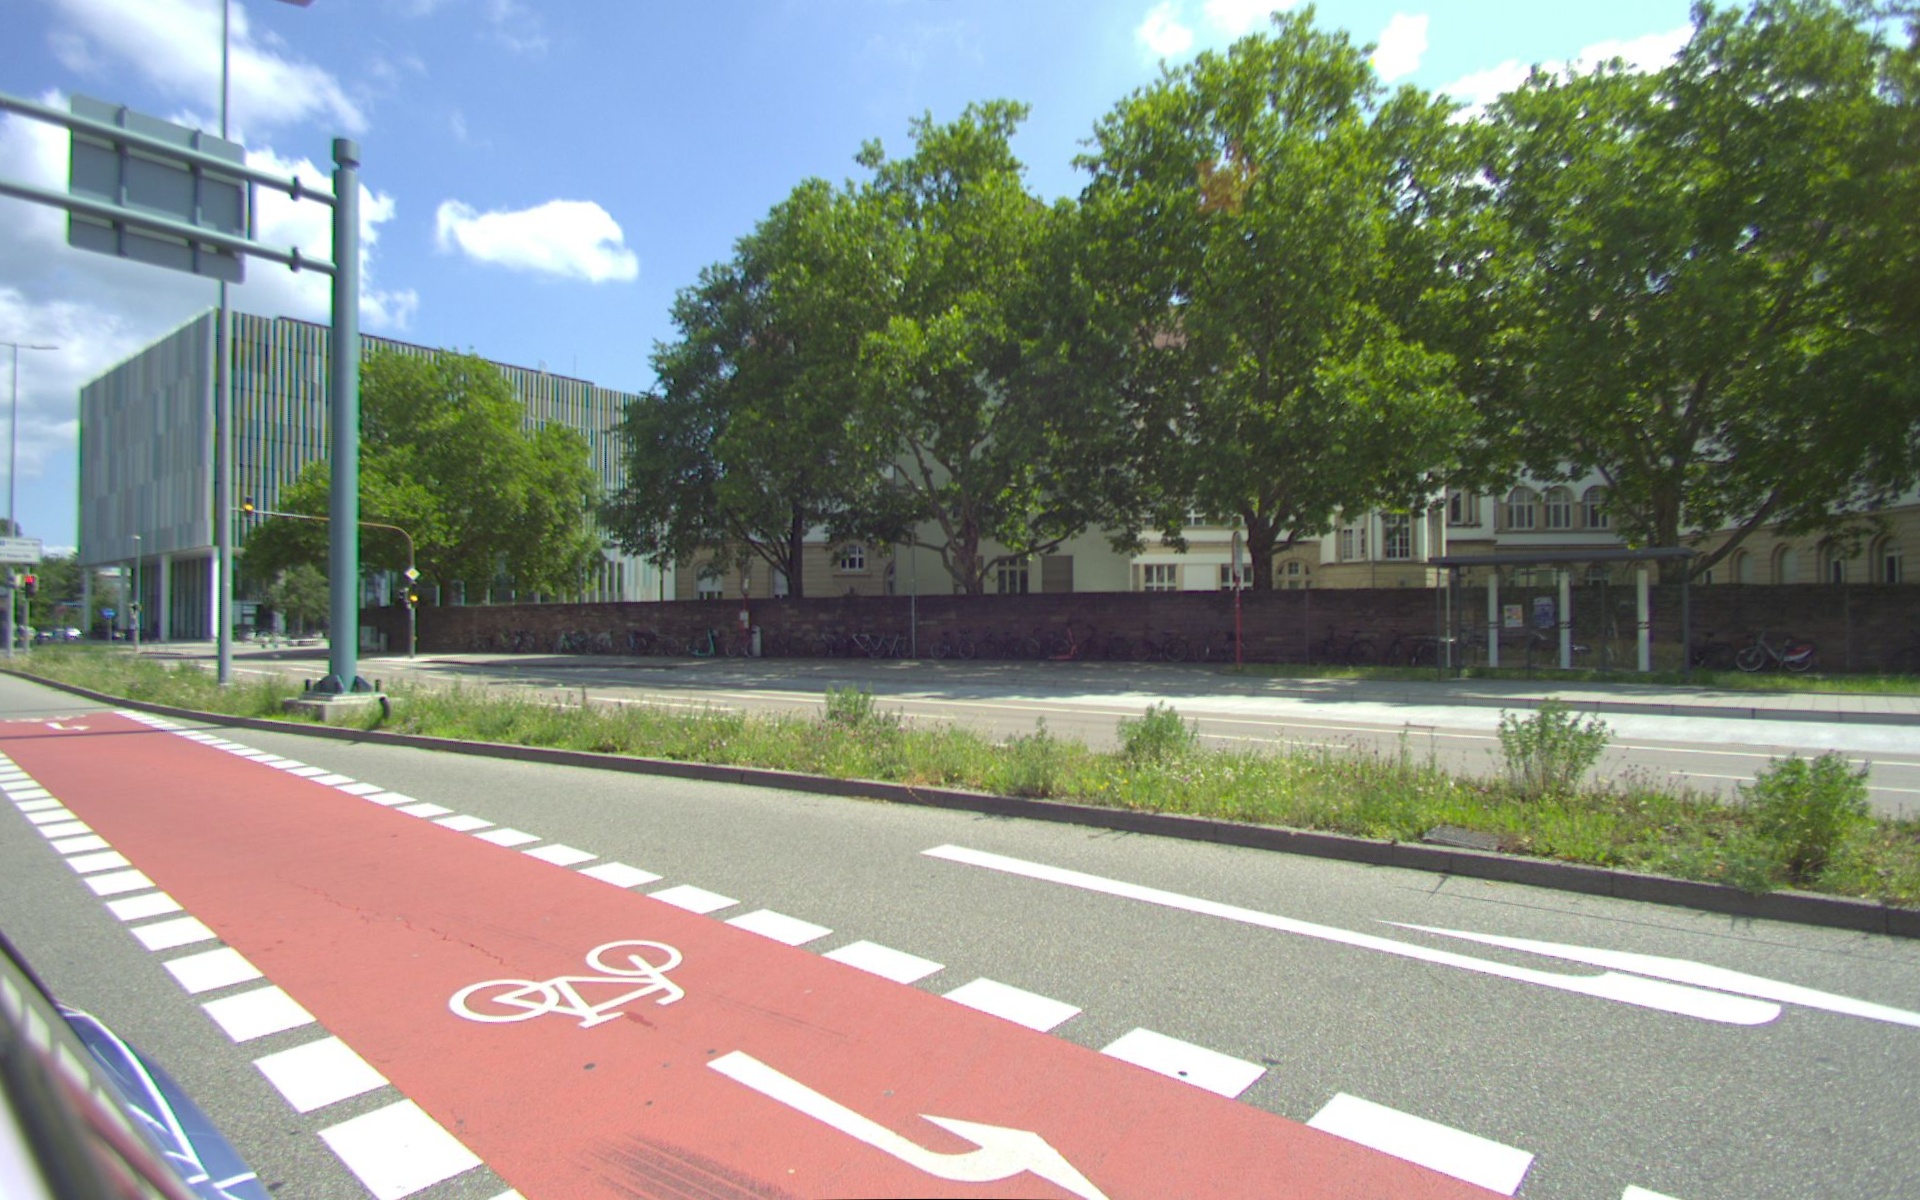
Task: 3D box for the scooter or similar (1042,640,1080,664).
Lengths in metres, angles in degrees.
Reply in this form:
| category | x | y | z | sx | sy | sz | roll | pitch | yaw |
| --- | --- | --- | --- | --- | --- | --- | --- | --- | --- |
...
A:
| category | x | y | z | sx | sy | sz | roll | pitch | yaw |
| --- | --- | --- | --- | --- | --- | --- | --- | --- | --- |
| scooter or similar | 3.177 | 1.628 | 31.836 | 1.133 | 0.734 | 0.264 | -1 | -2 | 18 |

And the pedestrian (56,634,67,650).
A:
| category | x | y | z | sx | sy | sz | roll | pitch | yaw |
| --- | --- | --- | --- | --- | --- | --- | --- | --- | --- |
| pedestrian | -85.061 | 3.970 | 95.781 | 0.689 | 1.464 | 0.687 | -2 | -3 | 44 |

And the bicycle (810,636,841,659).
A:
| category | x | y | z | sx | sy | sz | roll | pitch | yaw |
| --- | --- | --- | --- | --- | --- | --- | --- | --- | --- |
| bicycle | -4.896 | 1.725 | 36.868 | 1.231 | 0.837 | 0.262 | -1 | -2 | 30 |

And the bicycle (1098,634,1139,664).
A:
| category | x | y | z | sx | sy | sz | roll | pitch | yaw |
| --- | --- | --- | --- | --- | --- | --- | --- | --- | --- |
| bicycle | 4.941 | 1.521 | 31.612 | 1.230 | 0.915 | 0.262 | -1 | -2 | 28 |

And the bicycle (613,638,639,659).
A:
| category | x | y | z | sx | sy | sz | roll | pitch | yaw |
| --- | --- | --- | --- | --- | --- | --- | --- | --- | --- |
| bicycle | -13.918 | 2.023 | 42.181 | 1.231 | 0.837 | 0.262 | -1 | -2 | 30 |

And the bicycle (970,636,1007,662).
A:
| category | x | y | z | sx | sy | sz | roll | pitch | yaw |
| --- | --- | --- | --- | --- | --- | --- | --- | --- | --- |
| bicycle | 0.954 | 1.637 | 33.729 | 1.230 | 0.837 | 0.262 | -1 | -2 | 28 |

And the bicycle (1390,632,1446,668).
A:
| category | x | y | z | sx | sy | sz | roll | pitch | yaw |
| --- | --- | --- | --- | --- | --- | --- | --- | --- | --- |
| bicycle | 12.857 | 1.404 | 28.429 | 1.384 | 0.972 | 0.263 | -1 | -2 | 18 |

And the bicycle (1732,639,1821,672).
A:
| category | x | y | z | sx | sy | sz | roll | pitch | yaw |
| --- | --- | --- | --- | --- | --- | --- | --- | --- | --- |
| bicycle | 20.737 | 1.406 | 25.730 | 1.734 | 0.823 | 0.327 | -1 | -2 | 18 |

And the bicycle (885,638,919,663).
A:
| category | x | y | z | sx | sy | sz | roll | pitch | yaw |
| --- | --- | --- | --- | --- | --- | --- | --- | --- | --- |
| bicycle | -2.021 | 1.749 | 35.127 | 1.231 | 0.837 | 0.262 | -1 | -2 | 30 |

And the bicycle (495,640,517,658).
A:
| category | x | y | z | sx | sy | sz | roll | pitch | yaw |
| --- | --- | --- | --- | --- | --- | --- | --- | --- | --- |
| bicycle | -21.058 | 2.258 | 46.977 | 1.231 | 0.837 | 0.262 | -1 | -2 | 30 |

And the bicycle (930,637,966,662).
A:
| category | x | y | z | sx | sy | sz | roll | pitch | yaw |
| --- | --- | --- | --- | --- | --- | --- | --- | --- | --- |
| bicycle | -0.413 | 1.670 | 34.255 | 1.230 | 0.837 | 0.262 | -1 | -2 | 28 |

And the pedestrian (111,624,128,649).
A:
| category | x | y | z | sx | sy | sz | roll | pitch | yaw |
| --- | --- | --- | --- | --- | --- | --- | --- | --- | --- |
| pedestrian | -68.576 | 2.958 | 82.599 | 0.994 | 2.029 | 0.853 | -2 | -2 | 39 |

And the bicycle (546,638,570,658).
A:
| category | x | y | z | sx | sy | sz | roll | pitch | yaw |
| --- | --- | --- | --- | --- | --- | --- | --- | --- | --- |
| bicycle | -17.482 | 2.092 | 43.988 | 1.230 | 0.837 | 0.262 | -1 | -2 | 29 |

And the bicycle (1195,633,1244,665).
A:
| category | x | y | z | sx | sy | sz | roll | pitch | yaw |
| --- | --- | --- | --- | --- | --- | --- | --- | --- | --- |
| bicycle | 7.800 | 1.469 | 30.426 | 1.389 | 0.972 | 0.262 | -1 | -2 | 28 |

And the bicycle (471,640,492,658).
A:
| category | x | y | z | sx | sy | sz | roll | pitch | yaw |
| --- | --- | --- | --- | --- | --- | --- | --- | --- | --- |
| bicycle | -22.697 | 2.310 | 47.969 | 1.231 | 0.837 | 0.262 | -1 | -2 | 30 |

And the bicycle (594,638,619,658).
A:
| category | x | y | z | sx | sy | sz | roll | pitch | yaw |
| --- | --- | --- | --- | --- | --- | --- | --- | --- | --- |
| bicycle | -14.990 | 2.014 | 42.891 | 1.231 | 0.837 | 0.262 | -1 | -2 | 30 |

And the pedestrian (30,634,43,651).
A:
| category | x | y | z | sx | sy | sz | roll | pitch | yaw |
| --- | --- | --- | --- | --- | --- | --- | --- | --- | --- |
| pedestrian | -78.636 | 3.638 | 86.158 | 0.687 | 1.464 | 0.689 | -2 | -2 | 34 |

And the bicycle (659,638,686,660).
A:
| category | x | y | z | sx | sy | sz | roll | pitch | yaw |
| --- | --- | --- | --- | --- | --- | --- | --- | --- | --- |
| bicycle | -11.551 | 1.964 | 40.596 | 1.231 | 0.837 | 0.262 | -1 | -2 | 30 |

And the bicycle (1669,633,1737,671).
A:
| category | x | y | z | sx | sy | sz | roll | pitch | yaw |
| --- | --- | --- | --- | --- | --- | --- | --- | --- | --- |
| bicycle | 19.226 | 1.346 | 26.204 | 1.384 | 0.972 | 0.263 | -1 | -2 | 18 |

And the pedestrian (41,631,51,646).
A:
| category | x | y | z | sx | sy | sz | roll | pitch | yaw |
| --- | --- | --- | --- | --- | --- | --- | --- | --- | --- |
| pedestrian | -88.957 | 3.746 | 98.477 | 0.686 | 1.464 | 0.689 | 1 | -3 | -45 |

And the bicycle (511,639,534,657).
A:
| category | x | y | z | sx | sy | sz | roll | pitch | yaw |
| --- | --- | --- | --- | --- | --- | --- | --- | --- | --- |
| bicycle | -19.977 | 2.183 | 46.209 | 1.230 | 0.837 | 0.262 | -1 | -2 | 29 |

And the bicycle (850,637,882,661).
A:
| category | x | y | z | sx | sy | sz | roll | pitch | yaw |
| --- | --- | --- | --- | --- | --- | --- | --- | --- | --- |
| bicycle | -3.336 | 1.751 | 35.907 | 1.231 | 0.837 | 0.262 | -1 | -2 | 30 |

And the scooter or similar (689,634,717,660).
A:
| category | x | y | z | sx | sy | sz | roll | pitch | yaw |
| --- | --- | --- | --- | --- | --- | --- | --- | --- | --- |
| scooter or similar | -10.150 | 1.866 | 39.930 | 1.133 | 1.028 | 0.264 | -1 | -2 | 19 |

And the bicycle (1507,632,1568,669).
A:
| category | x | y | z | sx | sy | sz | roll | pitch | yaw |
| --- | --- | --- | --- | --- | --- | --- | --- | --- | --- |
| bicycle | 15.624 | 1.369 | 27.398 | 1.384 | 0.972 | 0.263 | -1 | -2 | 18 |

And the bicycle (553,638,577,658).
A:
| category | x | y | z | sx | sy | sz | roll | pitch | yaw |
| --- | --- | --- | --- | --- | --- | --- | --- | --- | --- |
| bicycle | -17.412 | 2.108 | 44.571 | 1.230 | 0.837 | 0.262 | -1 | -2 | 29 |

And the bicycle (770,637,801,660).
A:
| category | x | y | z | sx | sy | sz | roll | pitch | yaw |
| --- | --- | --- | --- | --- | --- | --- | --- | --- | --- |
| bicycle | -6.476 | 1.808 | 37.577 | 1.231 | 0.837 | 0.262 | -1 | -2 | 30 |

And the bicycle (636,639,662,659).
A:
| category | x | y | z | sx | sy | sz | roll | pitch | yaw |
| --- | --- | --- | --- | --- | --- | --- | --- | --- | --- |
| bicycle | -12.754 | 2.004 | 41.467 | 1.231 | 0.837 | 0.262 | -1 | -2 | 30 |

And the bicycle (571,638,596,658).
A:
| category | x | y | z | sx | sy | sz | roll | pitch | yaw |
| --- | --- | --- | --- | --- | --- | --- | --- | --- | --- |
| bicycle | -16.273 | 2.079 | 43.737 | 1.231 | 0.837 | 0.262 | -1 | -2 | 30 |

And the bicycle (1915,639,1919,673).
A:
| category | x | y | z | sx | sy | sz | roll | pitch | yaw |
| --- | --- | --- | --- | --- | --- | --- | --- | --- | --- |
| bicycle | 24.434 | 1.358 | 24.611 | 1.734 | 0.823 | 0.382 | -1 | -2 | 18 |

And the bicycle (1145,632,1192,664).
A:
| category | x | y | z | sx | sy | sz | roll | pitch | yaw |
| --- | --- | --- | --- | --- | --- | --- | --- | --- | --- |
| bicycle | 6.393 | 1.475 | 31.046 | 1.385 | 0.972 | 0.263 | -1 | -2 | 20 |

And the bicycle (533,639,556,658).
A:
| category | x | y | z | sx | sy | sz | roll | pitch | yaw |
| --- | --- | --- | --- | --- | --- | --- | --- | --- | --- |
| bicycle | -18.601 | 2.159 | 45.321 | 1.230 | 0.837 | 0.262 | -1 | -2 | 29 |

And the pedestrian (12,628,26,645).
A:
| category | x | y | z | sx | sy | sz | roll | pitch | yaw |
| --- | --- | --- | --- | --- | --- | --- | --- | --- | --- |
| pedestrian | -94.717 | 3.646 | 101.837 | 0.994 | 1.669 | 0.853 | -2 | -2 | 39 |

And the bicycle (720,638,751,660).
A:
| category | x | y | z | sx | sy | sz | roll | pitch | yaw |
| --- | --- | --- | --- | --- | --- | --- | --- | --- | --- |
| bicycle | -8.652 | 1.884 | 38.960 | 1.226 | 0.837 | 0.263 | -1 | -2 | 19 |

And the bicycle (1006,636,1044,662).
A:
| category | x | y | z | sx | sy | sz | roll | pitch | yaw |
| --- | --- | --- | --- | --- | --- | --- | --- | --- | --- |
| bicycle | 2.126 | 1.609 | 33.079 | 1.230 | 0.837 | 0.262 | -1 | -2 | 28 |

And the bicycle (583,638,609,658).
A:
| category | x | y | z | sx | sy | sz | roll | pitch | yaw |
| --- | --- | --- | --- | --- | --- | --- | --- | --- | --- |
| bicycle | -15.324 | 2.002 | 42.591 | 1.230 | 0.837 | 0.262 | -1 | -2 | 29 |

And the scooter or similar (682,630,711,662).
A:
| category | x | y | z | sx | sy | sz | roll | pitch | yaw |
| --- | --- | --- | --- | --- | --- | --- | --- | --- | --- |
| scooter or similar | -10.139 | 1.758 | 38.929 | 1.230 | 1.199 | 0.262 | -1 | -2 | 29 |

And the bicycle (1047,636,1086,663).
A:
| category | x | y | z | sx | sy | sz | roll | pitch | yaw |
| --- | --- | --- | --- | --- | --- | --- | --- | --- | --- |
| bicycle | 3.402 | 1.592 | 32.468 | 1.230 | 0.837 | 0.262 | -1 | -2 | 28 |

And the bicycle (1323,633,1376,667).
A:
| category | x | y | z | sx | sy | sz | roll | pitch | yaw |
| --- | --- | --- | --- | --- | --- | --- | --- | --- | --- |
| bicycle | 11.172 | 1.426 | 29.042 | 1.384 | 0.972 | 0.263 | -1 | -2 | 18 |
